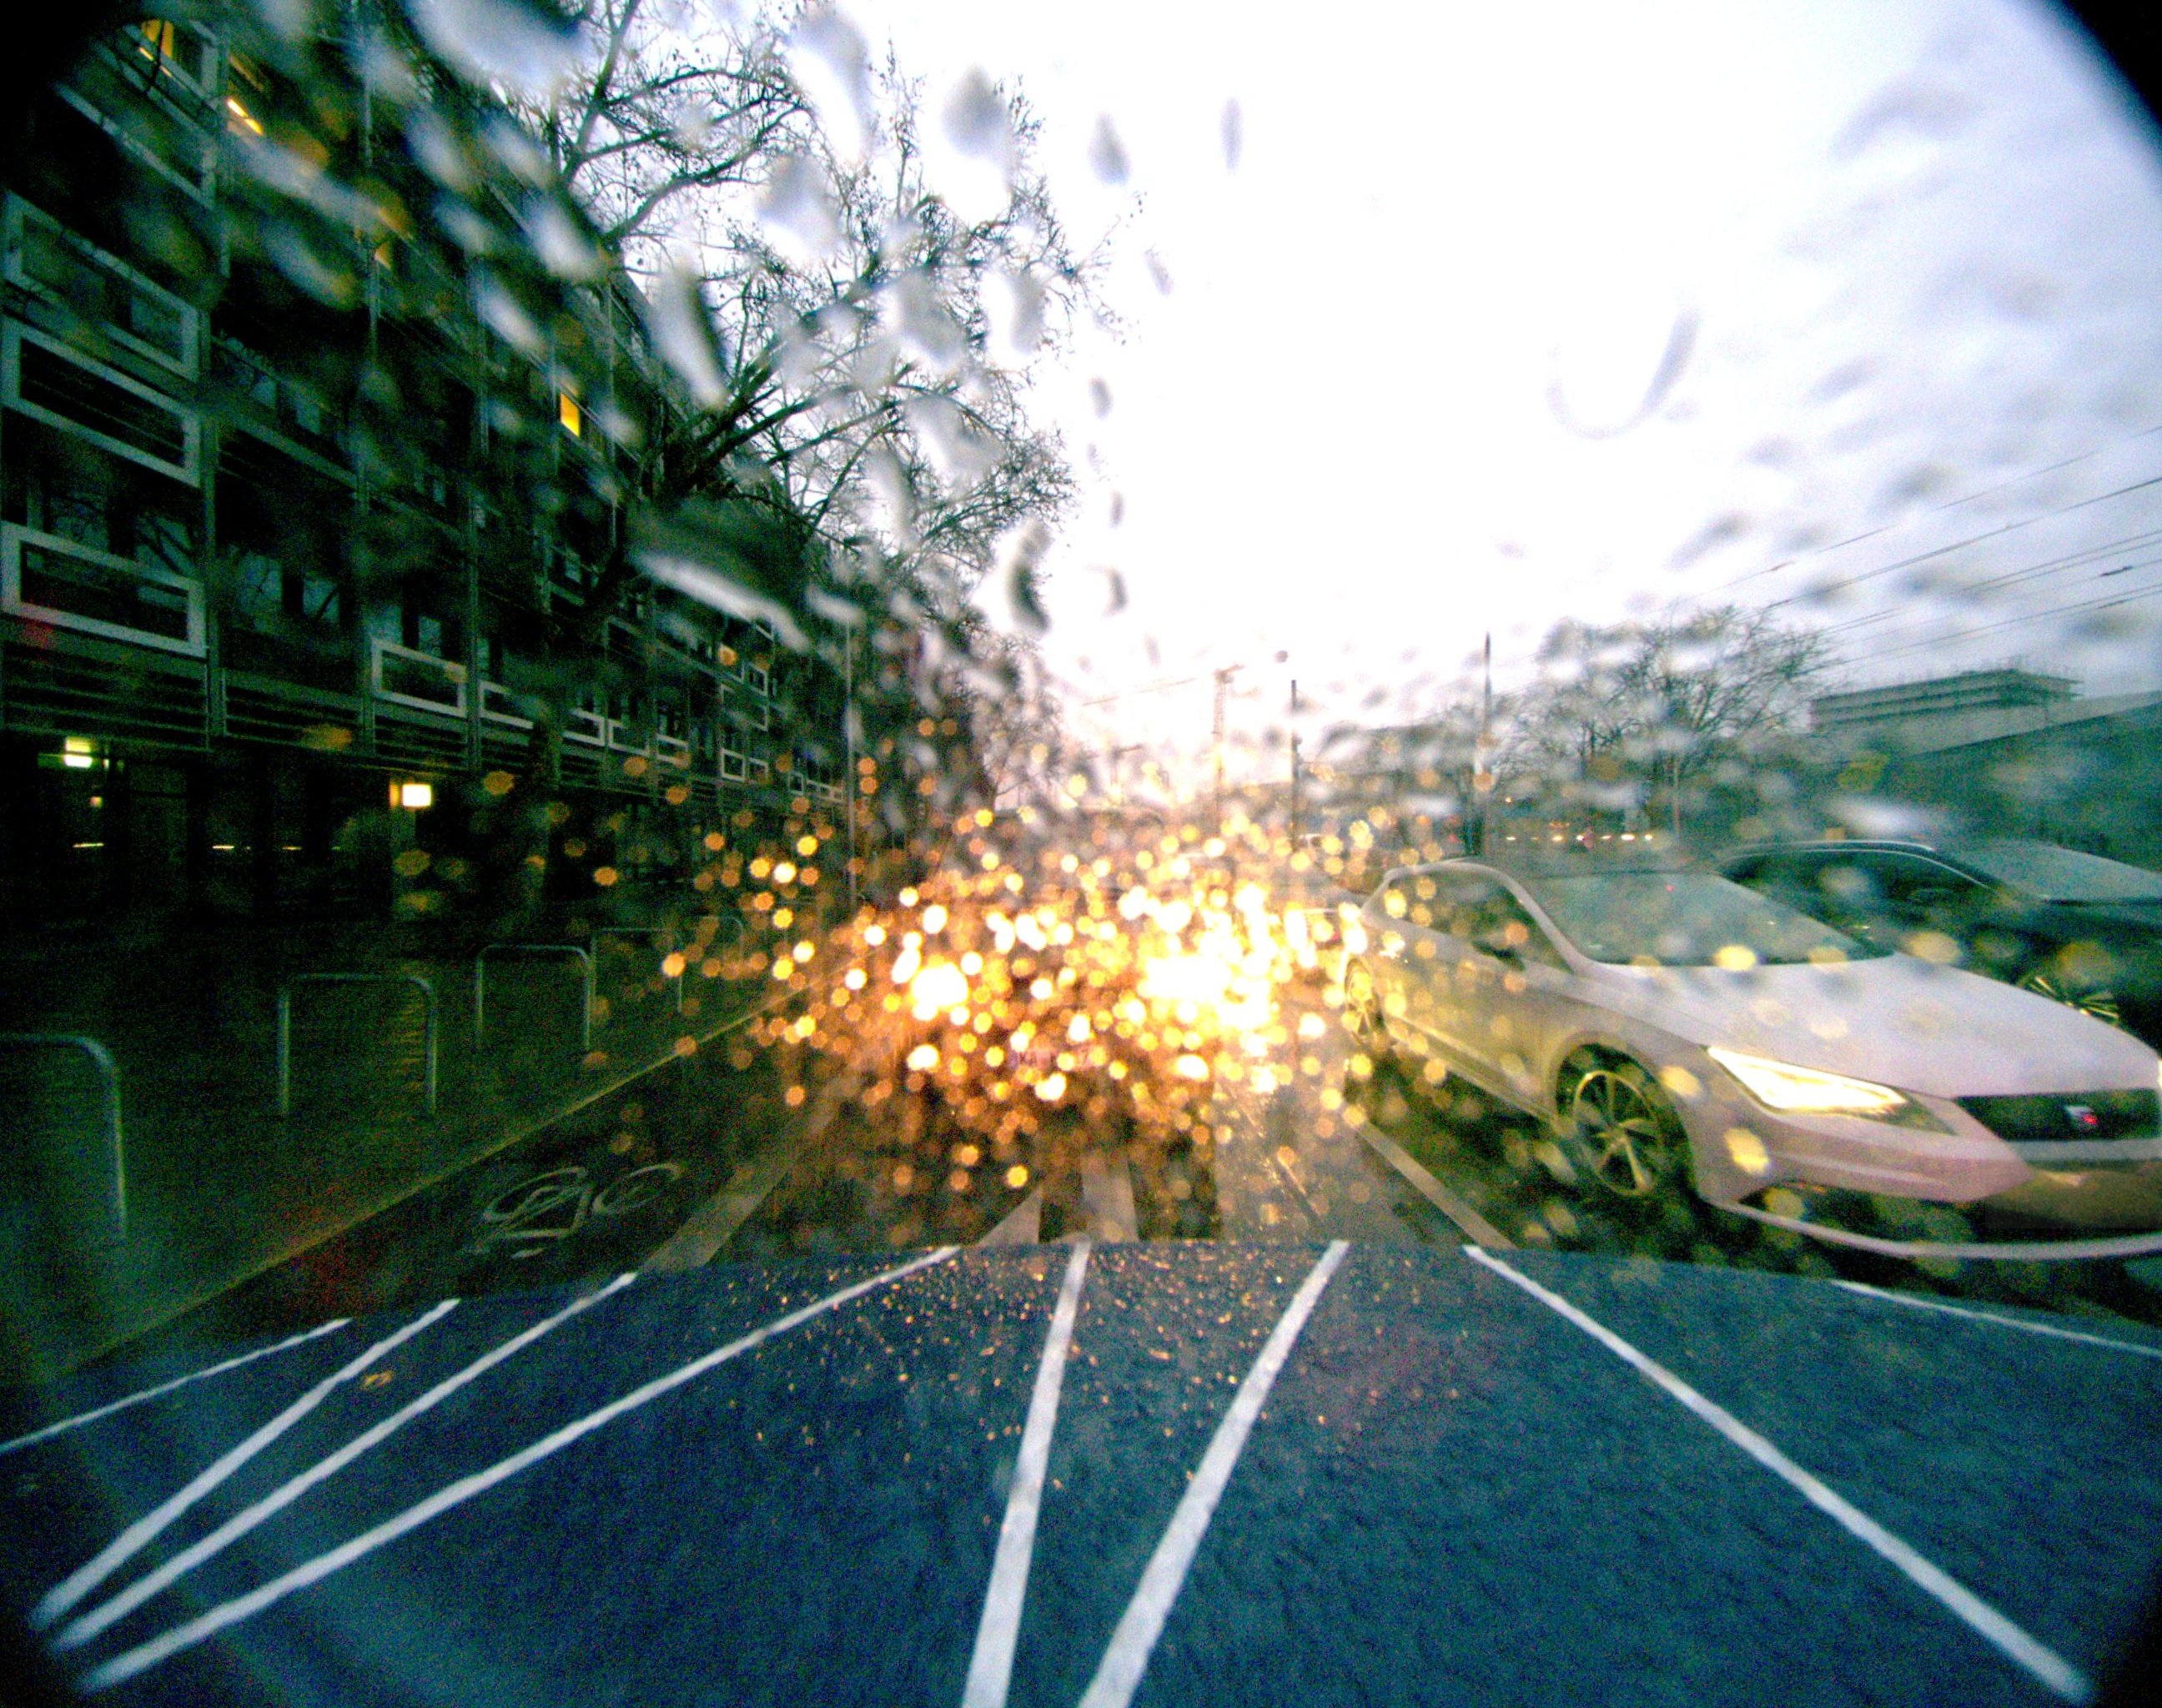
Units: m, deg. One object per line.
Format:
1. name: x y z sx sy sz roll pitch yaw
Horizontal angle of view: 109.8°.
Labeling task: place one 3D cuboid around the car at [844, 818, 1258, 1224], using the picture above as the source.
1. car: -0.204 0.761 5.576 1.878 1.830 3.998 -2 1 -2

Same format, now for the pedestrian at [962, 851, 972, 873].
1. pedestrian: -9.428 0.648 62.881 0.766 1.740 0.928 0 1 -4

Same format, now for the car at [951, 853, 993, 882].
1. car: -6.189 0.740 43.580 1.713 1.455 3.999 -2 1 1

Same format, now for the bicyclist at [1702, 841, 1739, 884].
1. bicyclist: 26.707 0.359 31.747 0.763 1.723 0.961 -2 2 -2

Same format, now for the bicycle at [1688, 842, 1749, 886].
1. bicycle: 26.702 0.372 31.864 0.763 1.723 2.063 -2 2 -2

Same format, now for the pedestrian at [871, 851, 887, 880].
1. pedestrian: -12.430 0.719 46.689 0.766 1.740 0.928 0 1 -4

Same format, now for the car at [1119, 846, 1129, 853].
1. car: 11.395 -1.125 202.519 2.095 1.884 3.997 -1 1 -7

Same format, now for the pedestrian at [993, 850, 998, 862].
1. pedestrian: -12.343 0.309 109.828 0.766 1.740 0.928 0 1 -4

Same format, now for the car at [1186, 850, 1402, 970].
1. car: 2.986 0.690 11.772 1.999 1.478 4.504 -1 0 -1

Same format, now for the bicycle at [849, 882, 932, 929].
1. bicycle: -4.448 1.194 17.821 1.704 0.987 0.879 1 1 0

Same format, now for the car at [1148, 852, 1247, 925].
1. car: 2.834 0.783 19.342 1.907 1.565 3.999 -2 1 1

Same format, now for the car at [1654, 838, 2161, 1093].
1. car: 7.357 0.643 6.151 1.853 1.499 4.662 -1 1 -1

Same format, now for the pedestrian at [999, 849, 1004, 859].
1. pedestrian: -15.062 -0.017 144.085 0.766 1.740 0.928 0 1 -4

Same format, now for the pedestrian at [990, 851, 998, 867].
1. pedestrian: -9.342 0.518 81.659 0.766 1.740 0.928 0 1 -4

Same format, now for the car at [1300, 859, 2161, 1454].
1. car: 2.985 0.831 4.335 1.949 1.478 4.504 -2 0 -3
